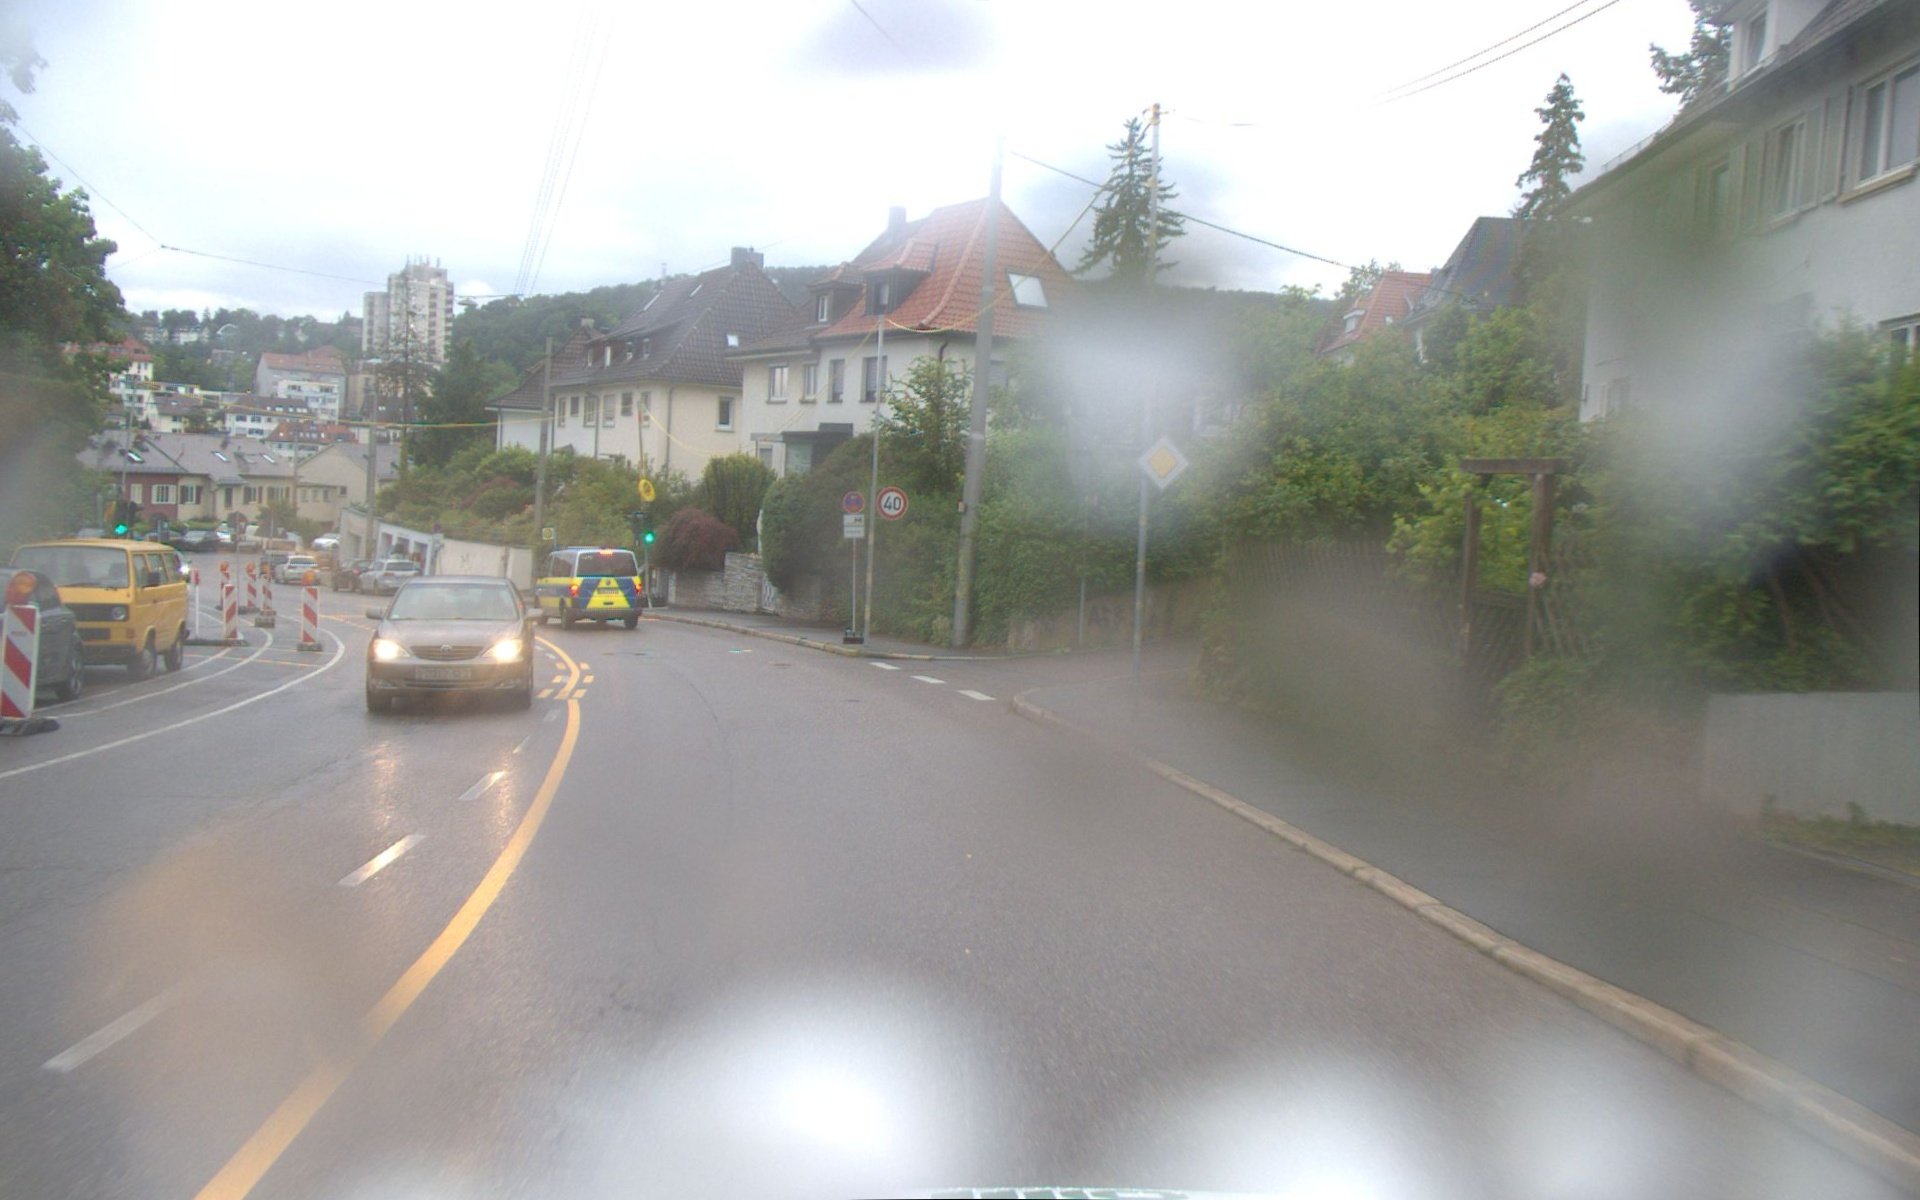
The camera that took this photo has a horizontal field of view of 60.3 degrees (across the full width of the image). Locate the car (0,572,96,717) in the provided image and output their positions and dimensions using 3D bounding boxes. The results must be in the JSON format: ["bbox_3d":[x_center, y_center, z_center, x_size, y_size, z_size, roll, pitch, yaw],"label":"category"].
[{"bbox_3d":[-10.865,0.439,18.266,1.547,1.479,3.452,0,0,-14],"label":"car"}]

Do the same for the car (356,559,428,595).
[{"bbox_3d":[-23.751,-0.991,69.025,1.766,1.445,4.377,-1,2,-34],"label":"car"}]

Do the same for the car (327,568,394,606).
[{"bbox_3d":[-26.531,-0.596,73.139,1.701,1.539,3.947,-1,2,-37],"label":"car"}]

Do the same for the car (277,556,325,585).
[{"bbox_3d":[-33.832,-1.531,84.838,1.688,1.439,4.000,0,1,-31],"label":"car"}]

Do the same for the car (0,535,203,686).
[{"bbox_3d":[-12.365,0.086,23.999,1.773,1.961,4.558,-1,1,-15],"label":"car"}]

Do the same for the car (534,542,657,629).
[{"bbox_3d":[-9.299,-0.435,42.000,2.278,1.972,4.295,-2,3,-23],"label":"car"}]

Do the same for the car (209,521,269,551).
[{"bbox_3d":[-54.954,-4.881,126.213,1.809,2.114,5.025,5,2,6],"label":"car"}]

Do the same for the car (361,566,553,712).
[{"bbox_3d":[-5.926,0.383,19.967,1.758,1.516,4.658,1,1,-12],"label":"car"}]

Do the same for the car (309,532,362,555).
[{"bbox_3d":[-52.810,-4.777,139.885,1.888,1.659,4.682,5,2,11],"label":"car"}]

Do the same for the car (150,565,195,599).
[{"bbox_3d":[-37.556,-0.872,78.833,1.680,1.486,4.640,-1,2,-28],"label":"car"}]

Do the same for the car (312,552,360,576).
[{"bbox_3d":[-43.578,-2.506,115.574,1.644,1.508,4.202,5,2,0],"label":"car"}]

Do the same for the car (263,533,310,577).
[{"bbox_3d":[-41.032,-2.764,100.848,2.065,2.586,5.594,1,2,-17],"label":"car"}]

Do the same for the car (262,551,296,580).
[{"bbox_3d":[-39.305,-2.012,95.499,1.729,1.521,4.158,1,2,-21],"label":"car"}]
